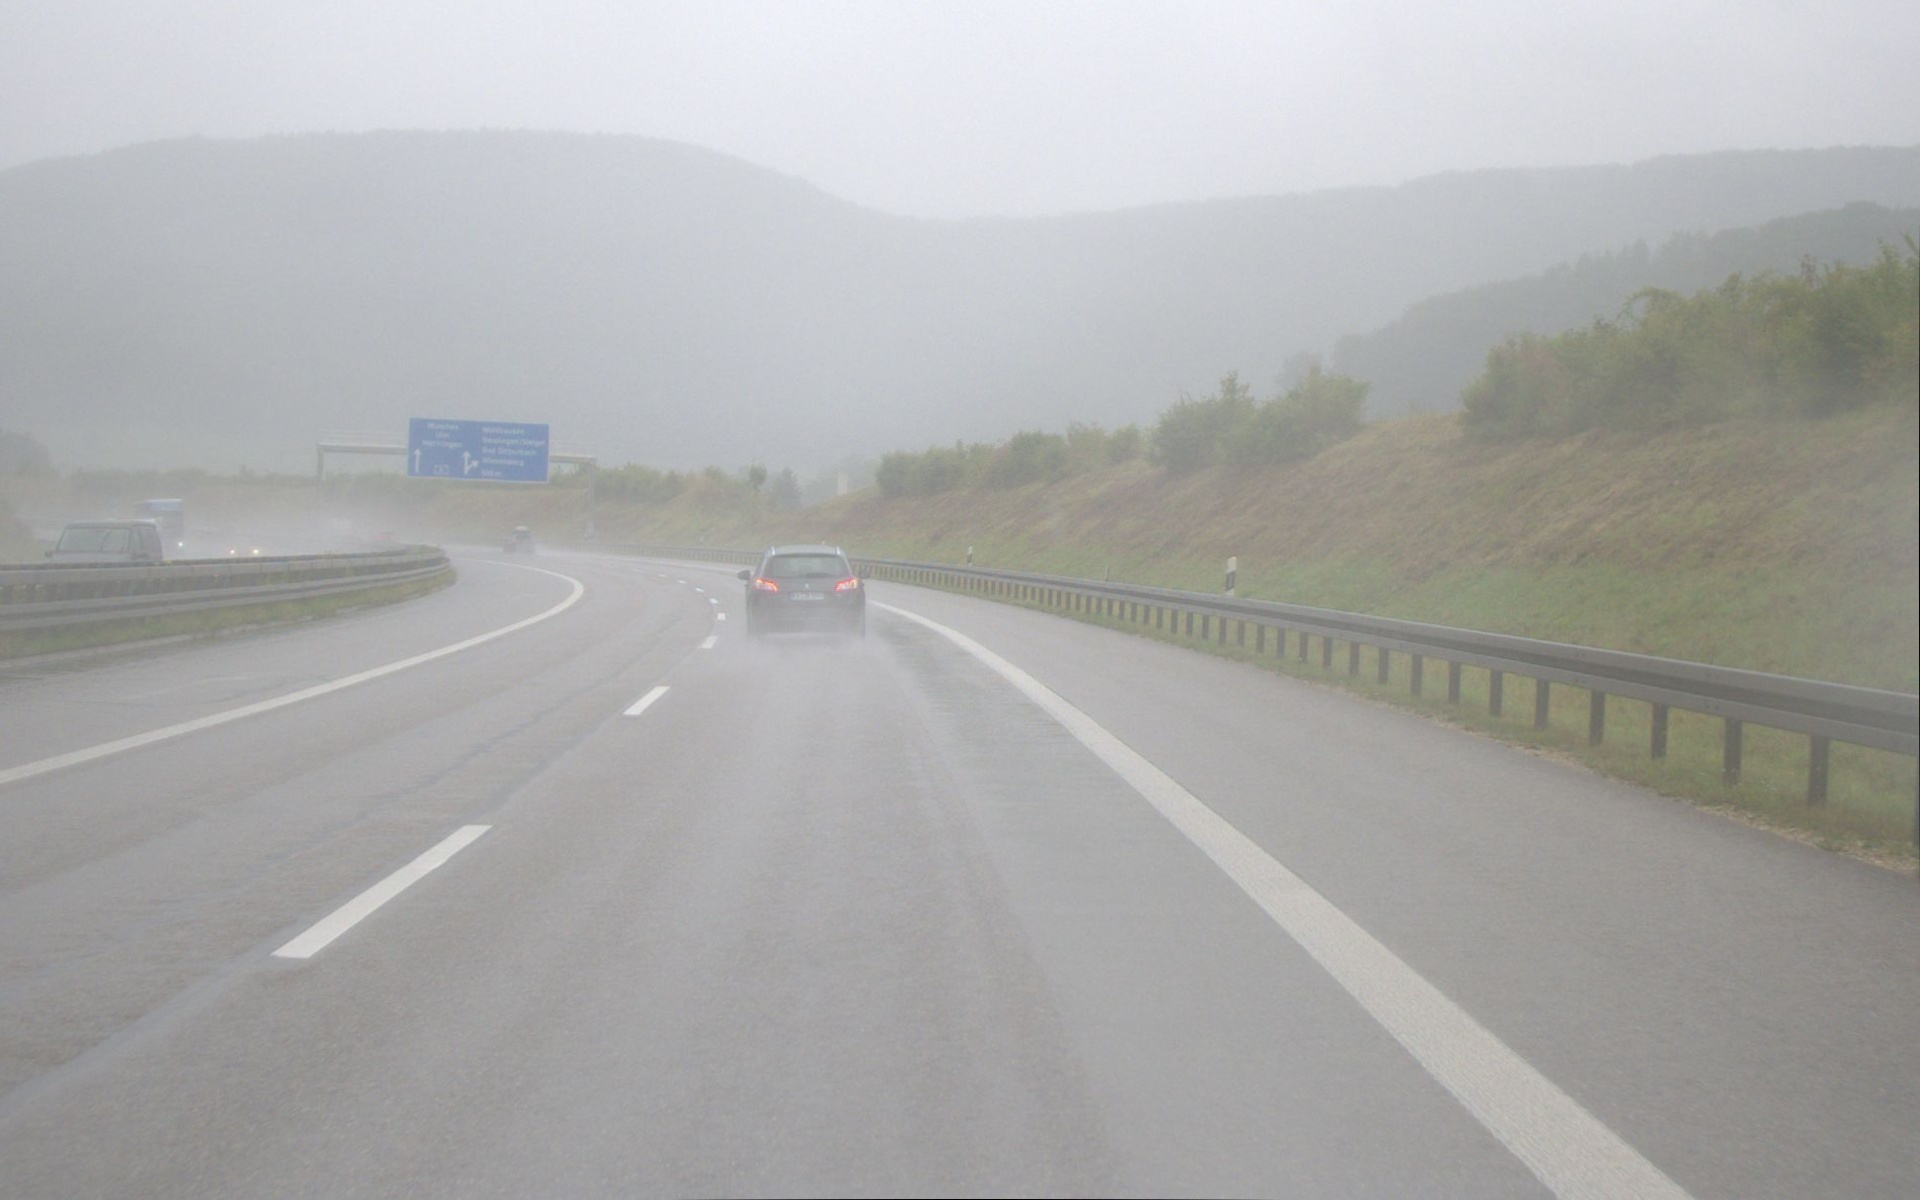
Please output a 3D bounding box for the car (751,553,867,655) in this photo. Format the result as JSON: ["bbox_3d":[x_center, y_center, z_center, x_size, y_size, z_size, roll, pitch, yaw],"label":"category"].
[{"bbox_3d":[-2.336,0.040,52.446,1.679,1.467,3.815,0,1,-4],"label":"car"}]
